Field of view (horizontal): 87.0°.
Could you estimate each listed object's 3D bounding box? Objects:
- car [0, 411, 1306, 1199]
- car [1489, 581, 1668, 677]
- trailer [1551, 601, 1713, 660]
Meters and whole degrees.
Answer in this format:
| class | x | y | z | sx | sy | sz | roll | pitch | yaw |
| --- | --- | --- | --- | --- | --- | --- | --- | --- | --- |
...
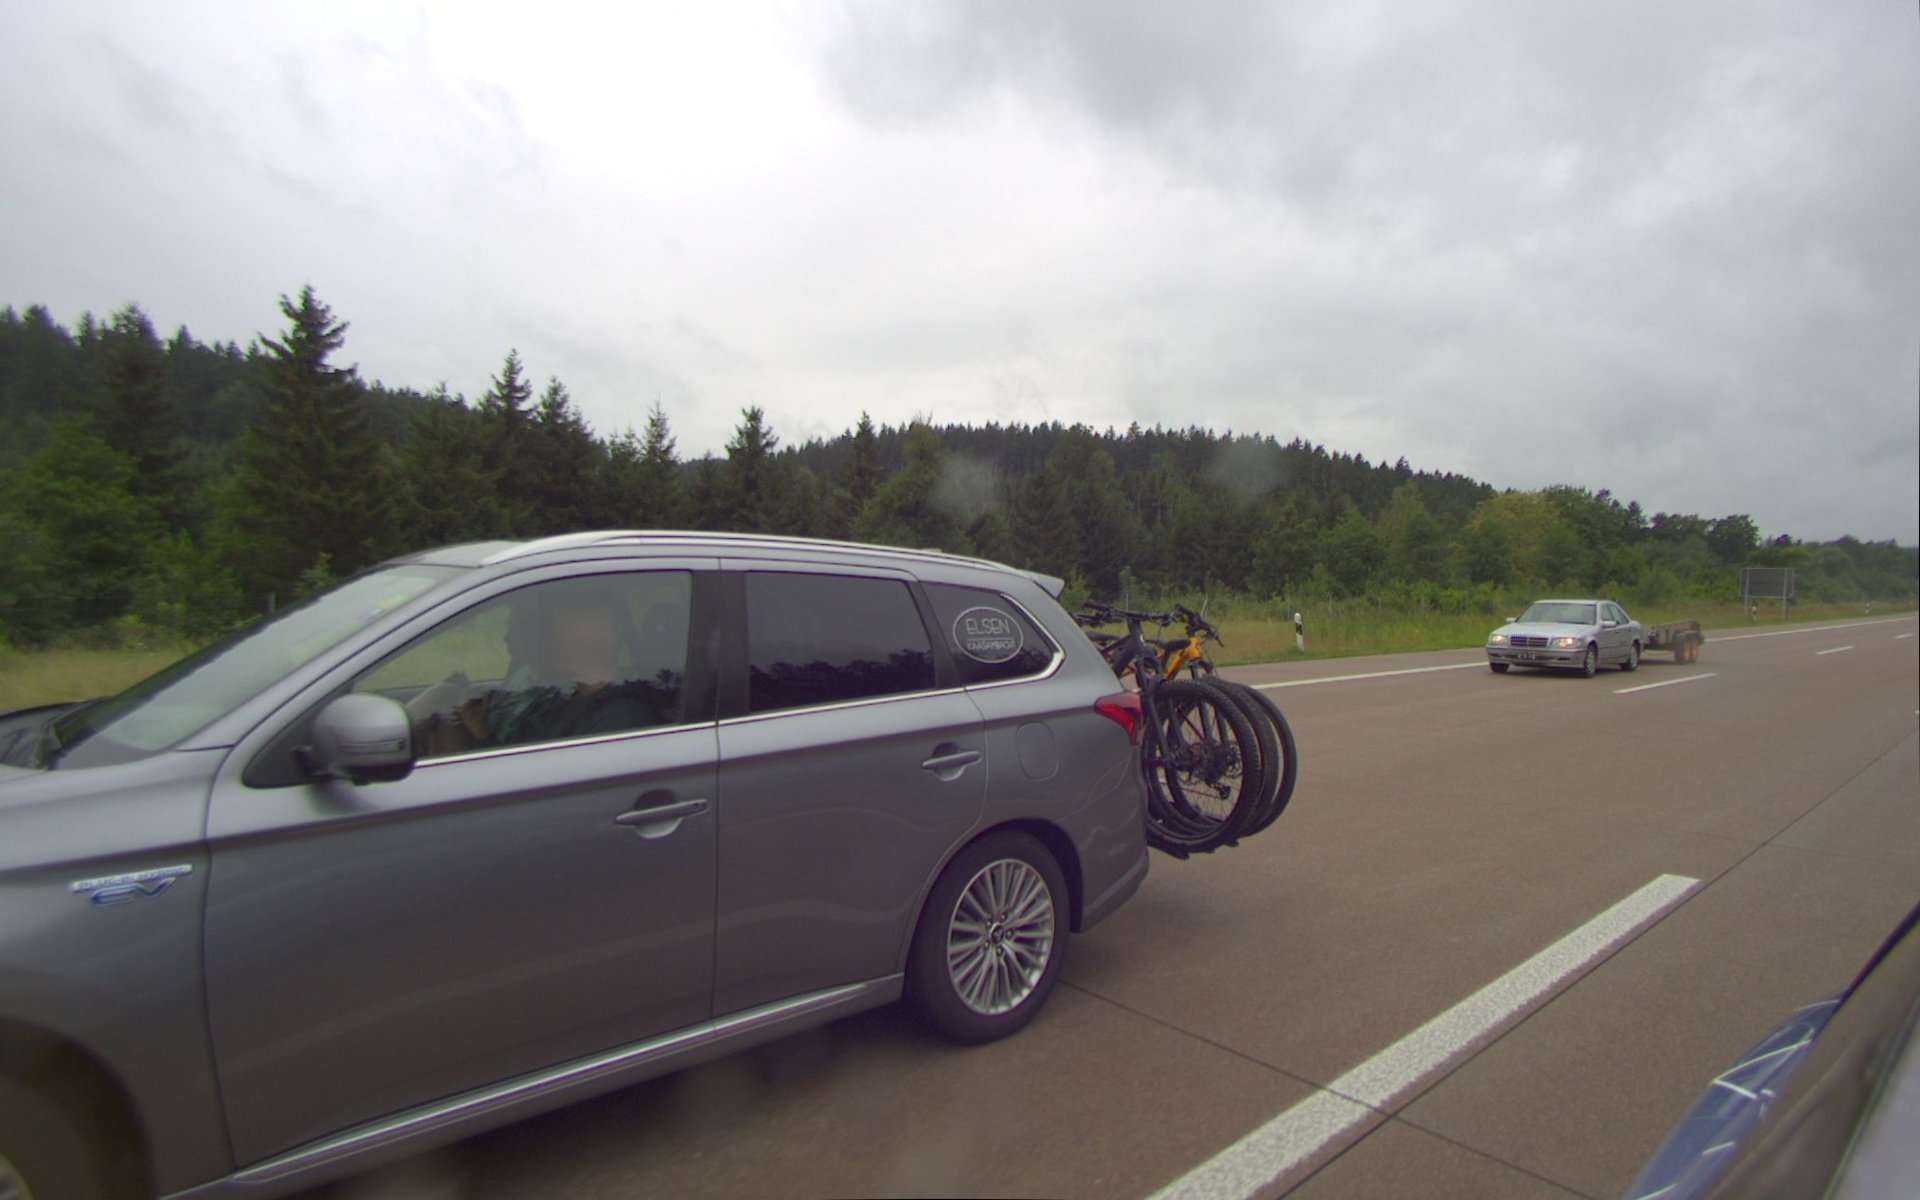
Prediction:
| class | x | y | z | sx | sy | sz | roll | pitch | yaw |
| --- | --- | --- | --- | --- | --- | --- | --- | --- | --- |
| car | -1.307 | 0.443 | 3.345 | 5.718 | 1.612 | 1.997 | -2 | 1 | -40 |
| car | 12.273 | 0.463 | 19.941 | 4.892 | 1.631 | 1.700 | -2 | 2 | -42 |
| trailer | 15.316 | 0.633 | 22.972 | 4.558 | 1.181 | 1.974 | 0 | 0 | -41 |
